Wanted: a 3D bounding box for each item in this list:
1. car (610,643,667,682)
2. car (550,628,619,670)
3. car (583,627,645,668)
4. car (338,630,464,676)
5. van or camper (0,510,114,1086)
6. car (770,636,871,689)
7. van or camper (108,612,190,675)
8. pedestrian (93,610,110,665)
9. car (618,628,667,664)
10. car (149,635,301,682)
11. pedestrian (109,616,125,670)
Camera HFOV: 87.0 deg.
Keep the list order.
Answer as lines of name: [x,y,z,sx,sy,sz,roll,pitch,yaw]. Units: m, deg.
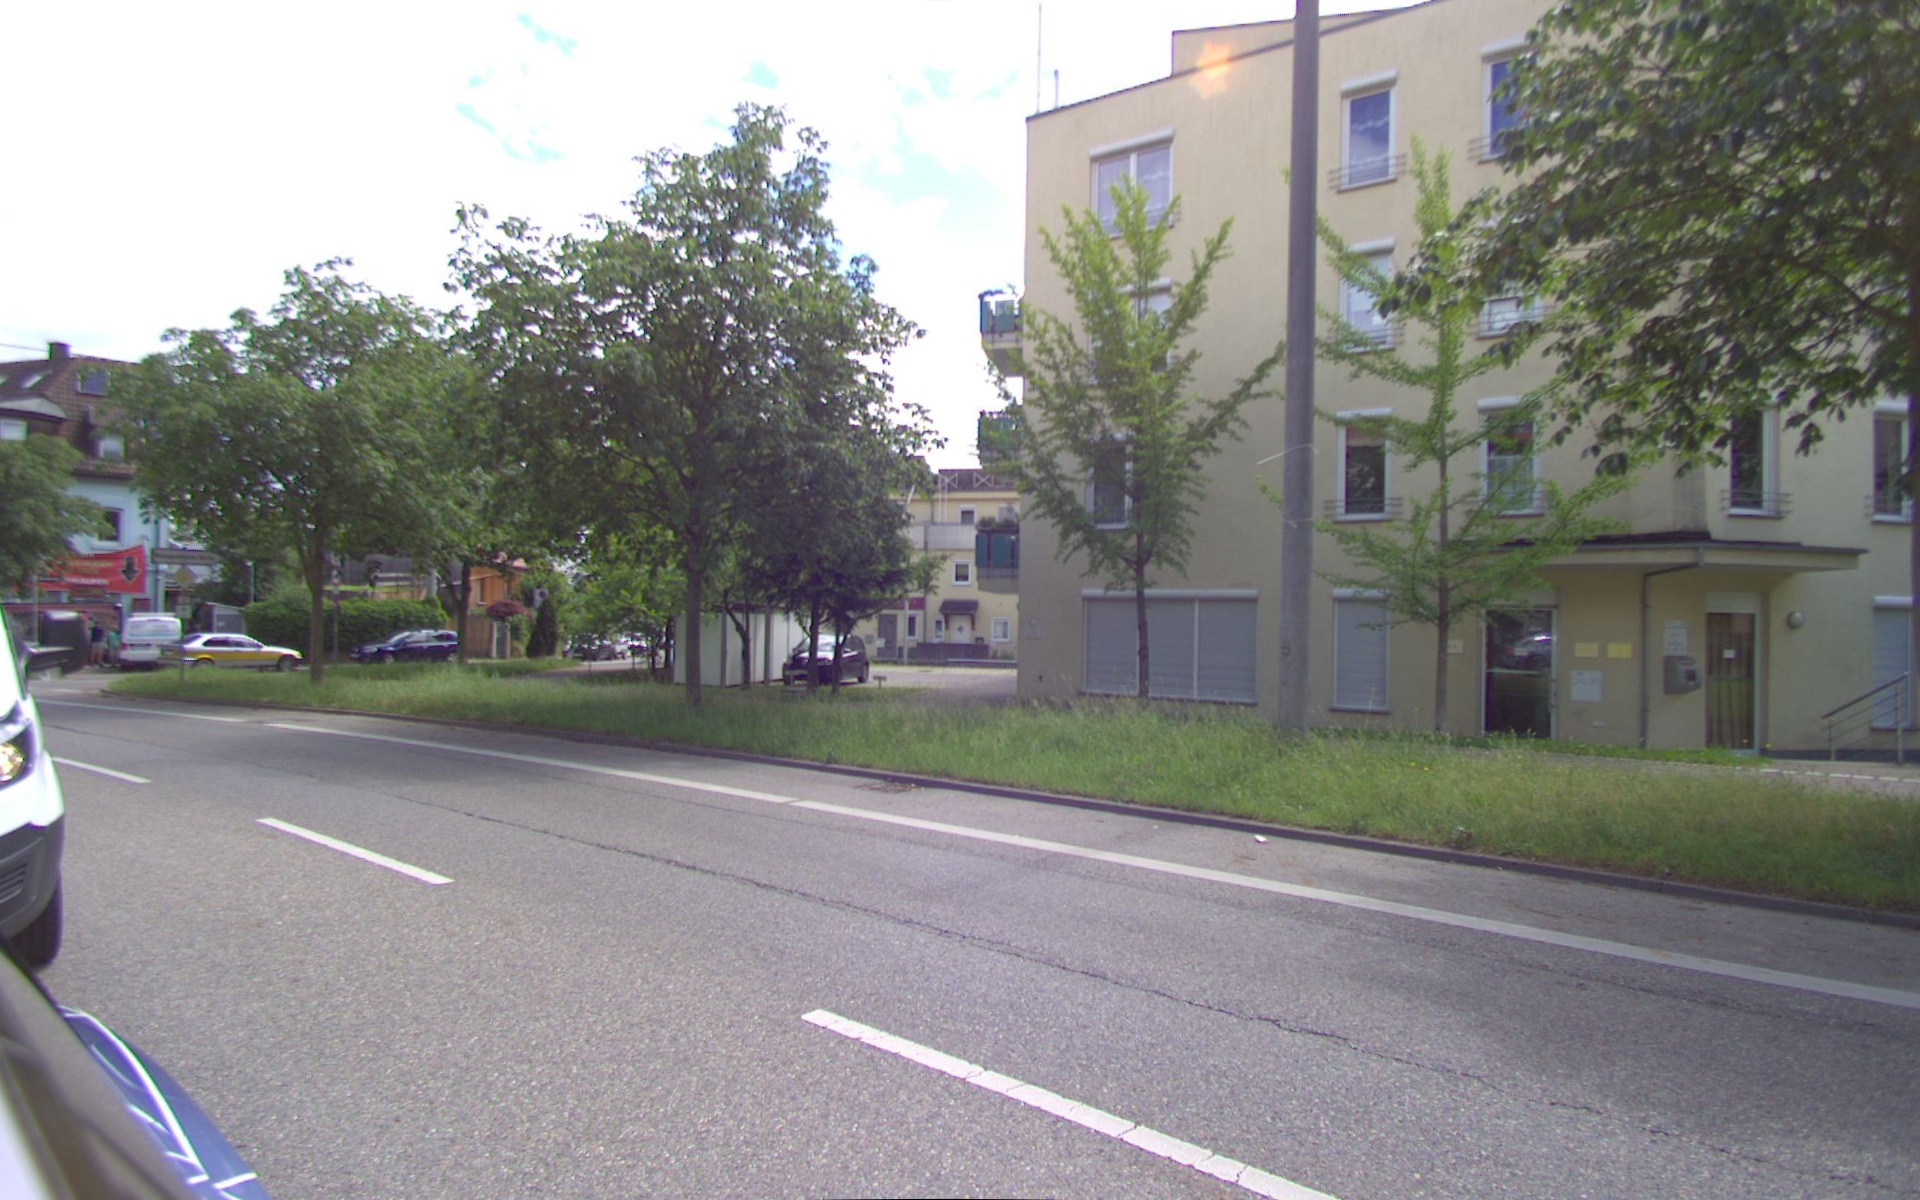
car: [-18.731,3.617,59.134,1.972,2.029,3.999,-1,0,1]
car: [-18.839,2.441,50.928,1.954,2.029,3.998,0,-2,1]
car: [-18.783,2.551,55.067,1.972,2.029,3.999,-1,0,1]
car: [-21.782,2.034,39.541,1.715,1.695,3.928,0,-2,37]
van or camper: [-5.771,0.726,4.714,5.100,2.029,2.001,-2,-3,41]
car: [-4.013,1.793,29.746,1.774,1.431,3.986,-1,-2,11]
van or camper: [-29.462,1.523,36.713,3.811,2.105,1.770,0,0,43]
pedestrian: [-31.718,1.374,37.386,0.363,2.029,0.419,-1,0,41]
car: [-19.957,2.848,63.764,1.871,2.029,4.001,-1,0,-2]
car: [-25.348,1.987,35.033,1.529,1.332,4.008,-1,0,27]
pedestrian: [-31.407,1.586,37.688,0.443,2.005,0.378,-1,0,41]
